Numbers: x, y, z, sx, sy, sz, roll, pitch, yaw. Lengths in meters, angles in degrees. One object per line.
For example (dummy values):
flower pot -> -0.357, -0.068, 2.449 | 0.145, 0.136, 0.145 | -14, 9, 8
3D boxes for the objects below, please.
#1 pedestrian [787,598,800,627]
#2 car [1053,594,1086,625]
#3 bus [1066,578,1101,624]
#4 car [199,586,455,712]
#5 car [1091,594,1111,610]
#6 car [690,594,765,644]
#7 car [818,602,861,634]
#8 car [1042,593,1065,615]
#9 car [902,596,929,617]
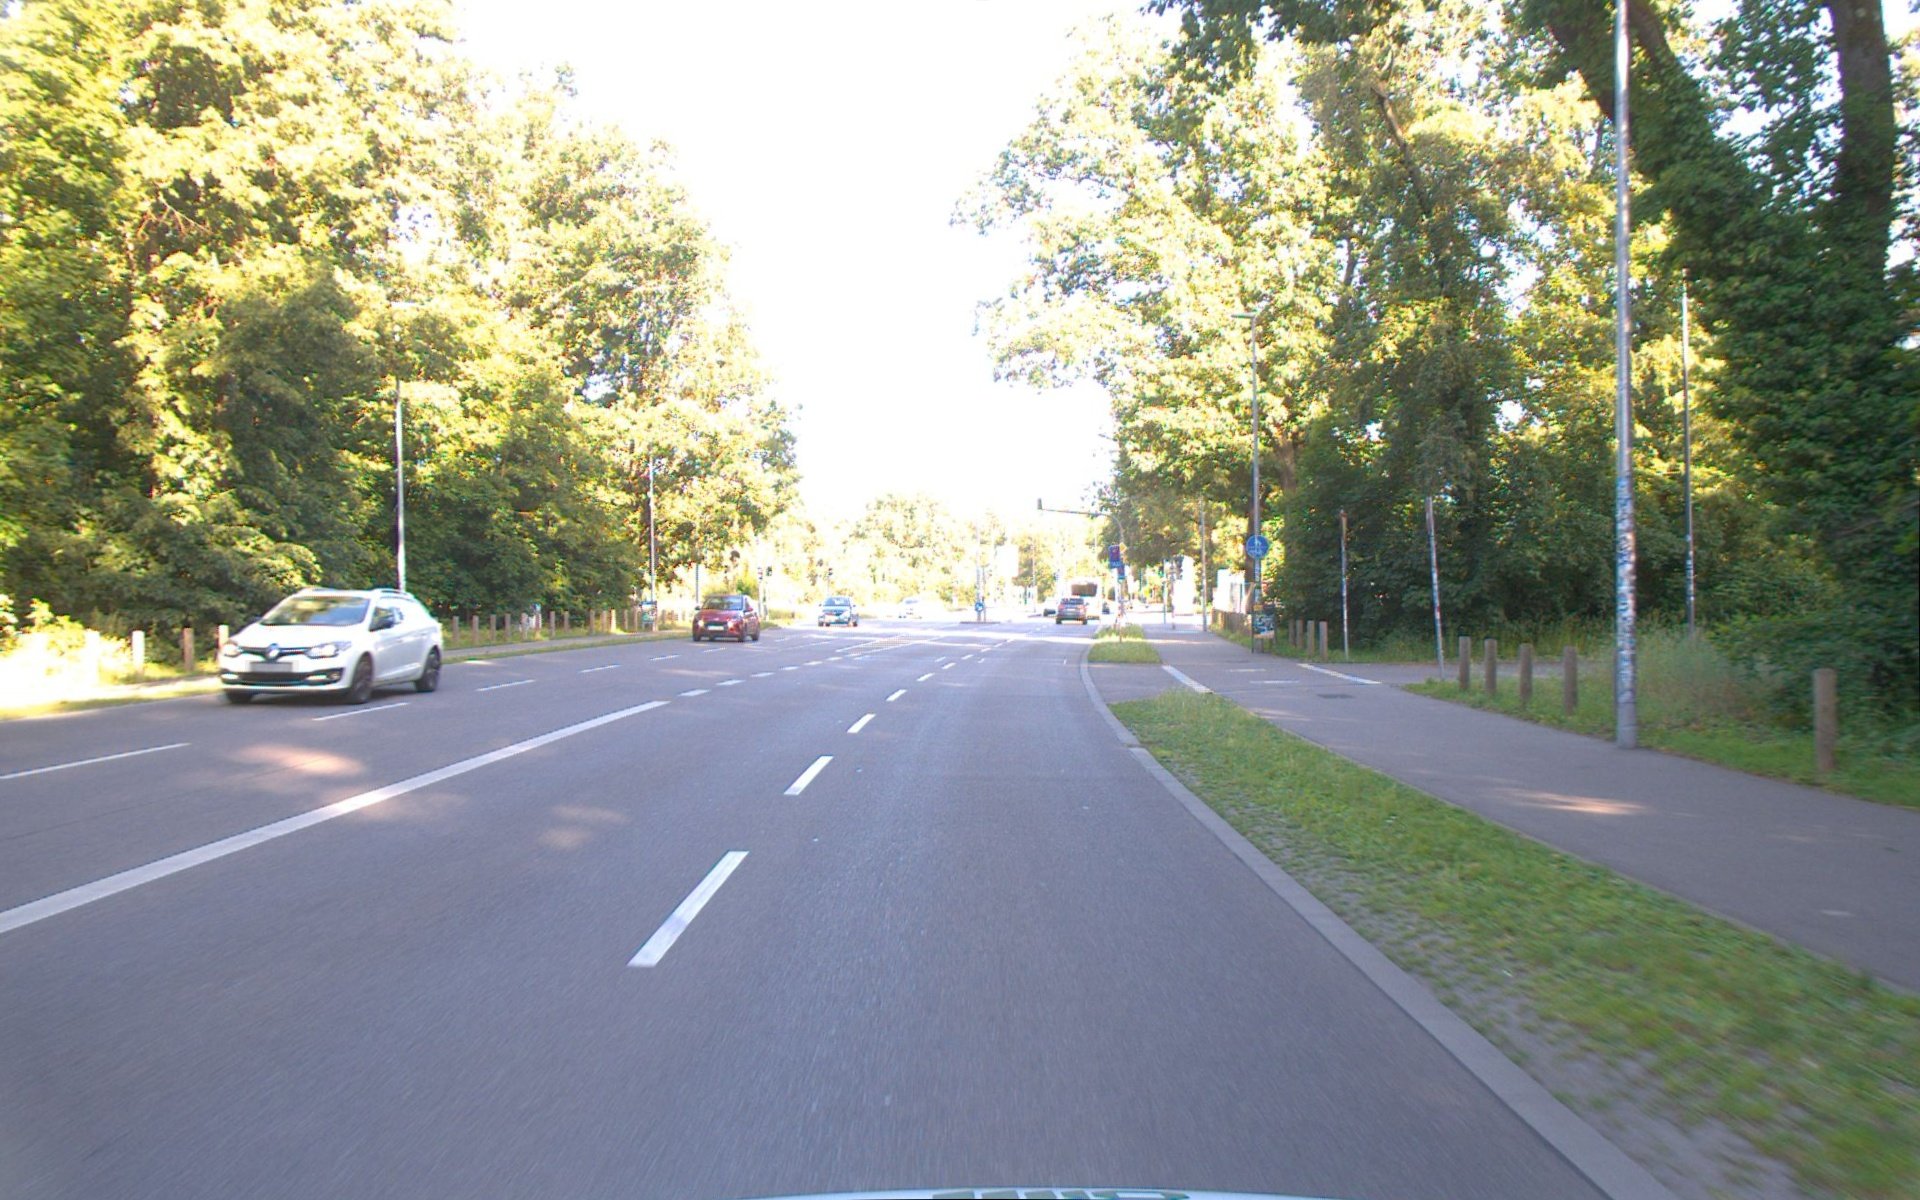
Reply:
pedestrian -> -11.276, 0.860, 112.009 | 0.599, 1.943, 1.107 | -1, -1, 5
car -> 6.602, 0.531, 99.447 | 1.840, 1.796, 4.003 | -1, 0, 5
bus -> 9.490, 0.047, 126.334 | 2.550, 3.427, 7.980 | 0, 0, 5
car -> -8.494, 0.590, 22.649 | 1.746, 1.549, 4.398 | 0, 0, 1
car -> 15.194, 0.190, 177.648 | 1.823, 1.713, 3.776 | -1, 0, 9
car -> -7.480, 0.602, 53.539 | 1.628, 1.544, 3.809 | -1, 0, 4
car -> -5.989, 0.872, 82.461 | 1.621, 1.534, 4.002 | -1, 0, 3
car -> 8.045, 0.307, 141.799 | 1.840, 1.796, 4.003 | -1, 0, 5
car -> -3.185, 0.451, 119.470 | 1.675, 1.489, 4.102 | 1, 0, 2
